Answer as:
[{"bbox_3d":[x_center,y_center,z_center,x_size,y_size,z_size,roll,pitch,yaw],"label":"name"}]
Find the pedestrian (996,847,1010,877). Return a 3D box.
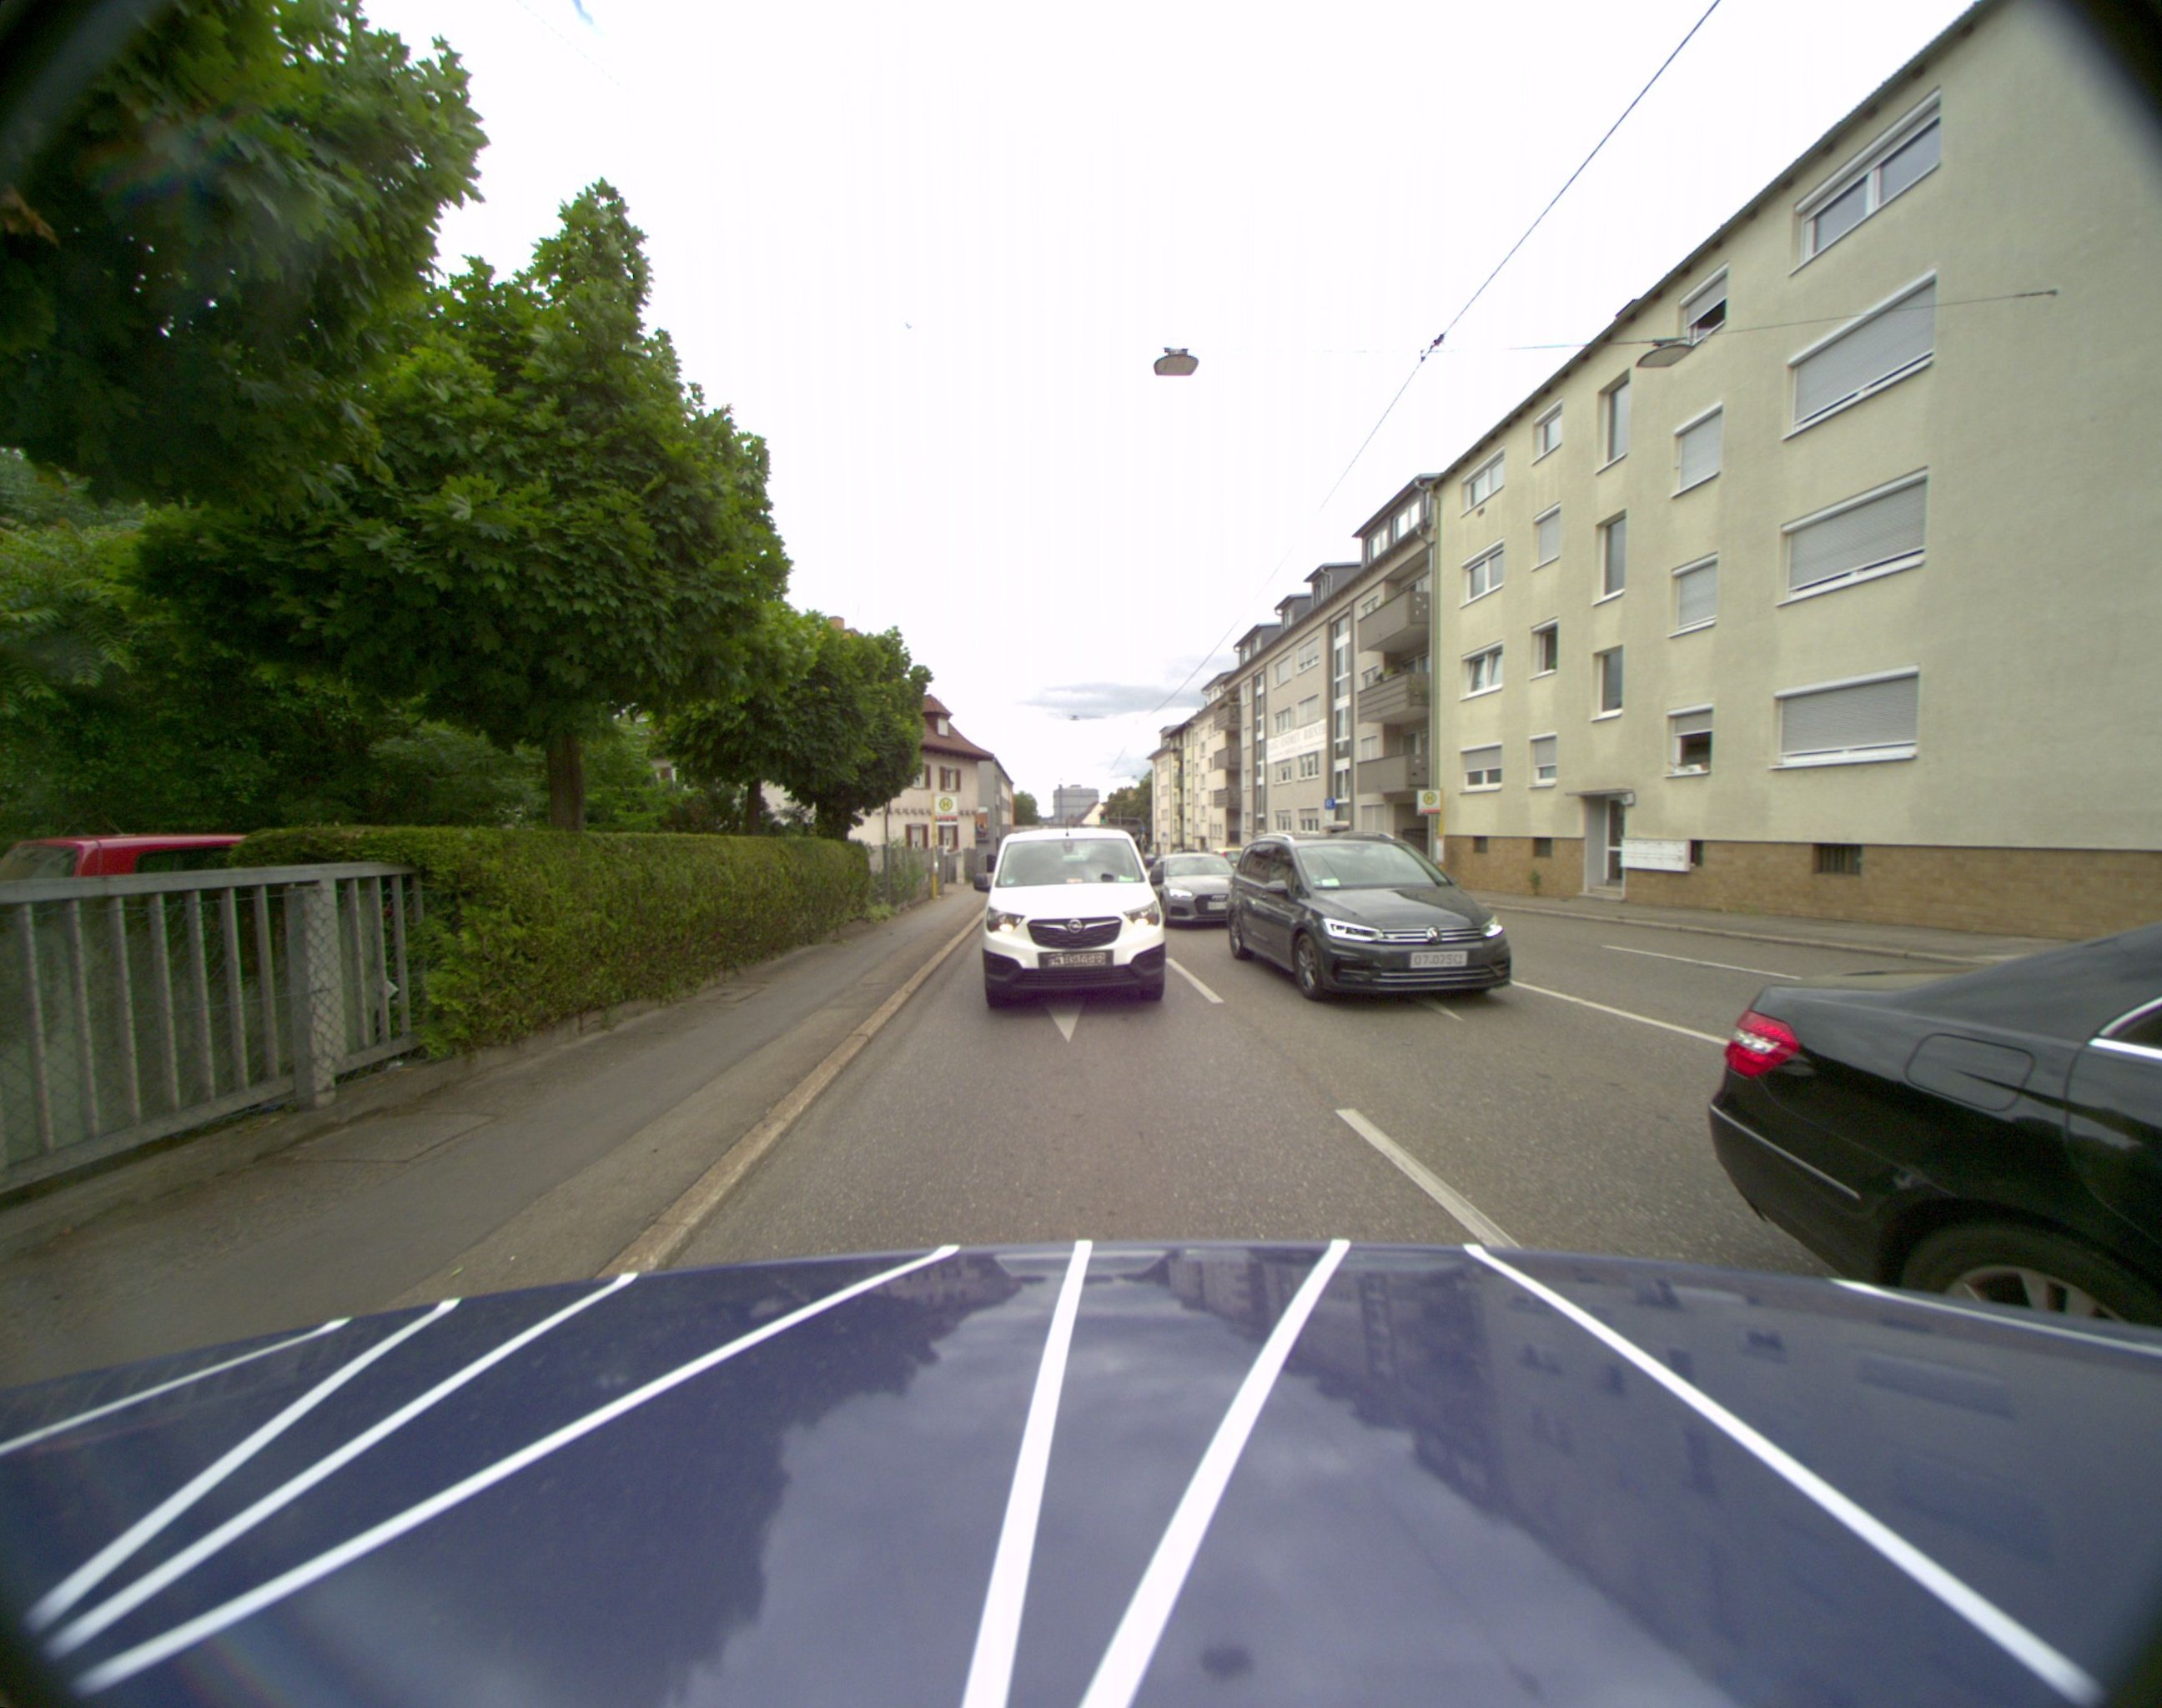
[{"bbox_3d":[-4.804,0.513,46.922,0.646,1.830,0.593,-1,1,19],"label":"pedestrian"}]

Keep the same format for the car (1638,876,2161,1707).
[{"bbox_3d":[2.938,0.827,0.205,1.999,1.420,4.841,-2,0,0],"label":"car"}]

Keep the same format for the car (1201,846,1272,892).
[{"bbox_3d":[5.446,0.471,27.052,1.602,1.509,3.457,0,1,-4],"label":"car"}]

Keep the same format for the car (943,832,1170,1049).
[{"bbox_3d":[-0.216,0.696,8.788,1.862,1.772,4.710,-2,1,0],"label":"car"}]

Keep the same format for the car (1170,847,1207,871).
[{"bbox_3d":[7.499,0.321,53.123,1.776,1.592,3.538,0,1,-6],"label":"car"}]

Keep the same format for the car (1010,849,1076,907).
[{"bbox_3d":[-1.283,0.686,23.896,1.900,1.635,3.997,0,1,-6],"label":"car"}]

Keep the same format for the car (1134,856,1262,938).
[{"bbox_3d":[2.199,0.763,15.416,1.882,1.347,4.145,-2,1,-1],"label":"car"}]

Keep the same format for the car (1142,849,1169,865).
[{"bbox_3d":[6.871,0.288,70.035,1.776,1.395,3.757,0,1,-6],"label":"car"}]

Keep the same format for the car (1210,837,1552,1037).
[{"bbox_3d":[2.912,0.656,8.603,1.863,1.601,4.477,-2,1,-3],"label":"car"}]

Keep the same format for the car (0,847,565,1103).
[{"bbox_3d":[-6.666,0.732,6.372,1.698,1.452,3.443,-2,1,21],"label":"car"}]

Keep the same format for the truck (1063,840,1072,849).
[{"bbox_3d":[-3.977,-2.716,222.367,2.547,2.522,5.492,-1,1,-2],"label":"truck"}]
